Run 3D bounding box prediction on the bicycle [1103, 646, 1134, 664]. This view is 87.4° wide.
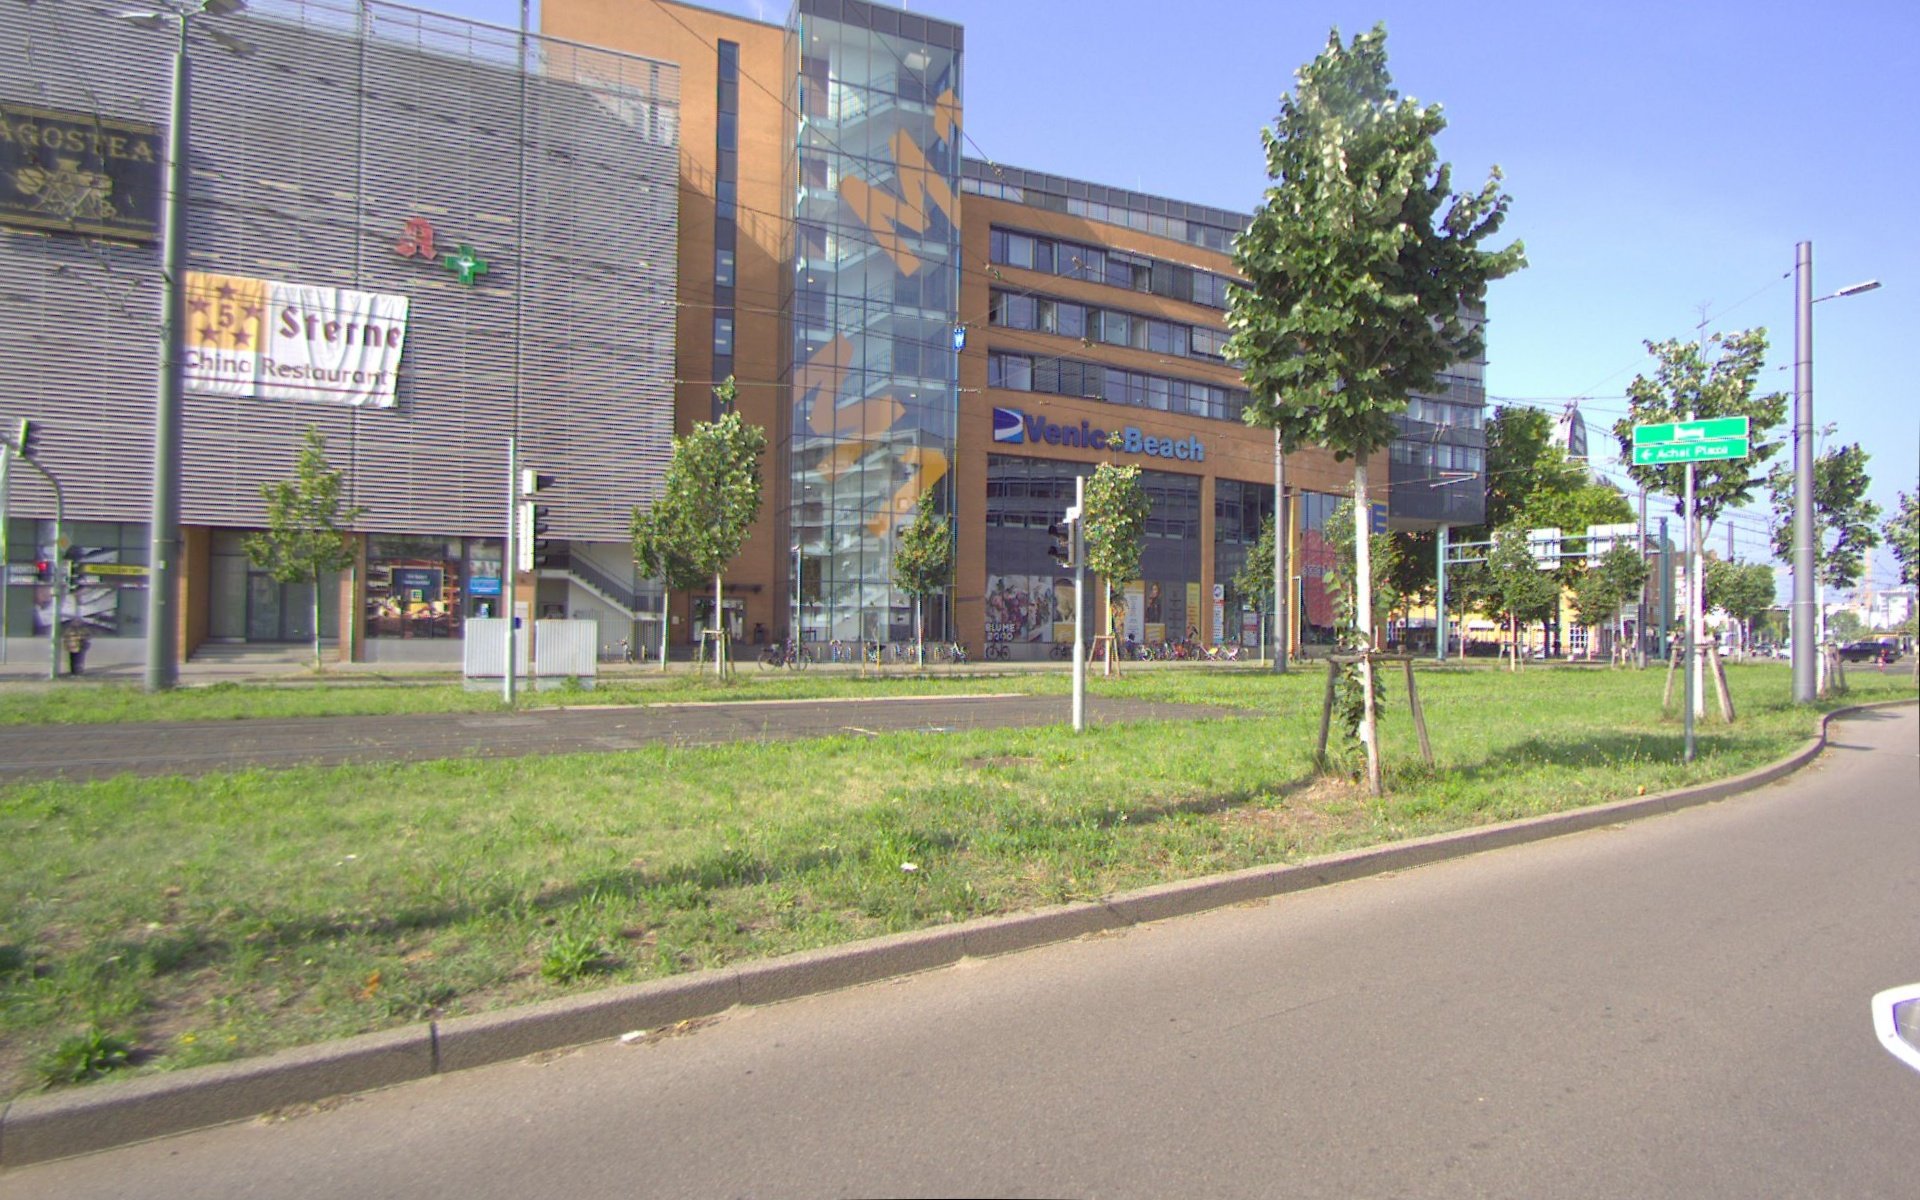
[{"bbox_3d":[8.509,2.948,54.097,0.566,0.933,2.041,2,-2,-27],"label":"bicycle"}]

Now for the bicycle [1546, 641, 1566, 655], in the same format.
[{"bbox_3d":[53.991,4.371,91.031,0.539,1.222,2.289,2,-3,4],"label":"bicycle"}]

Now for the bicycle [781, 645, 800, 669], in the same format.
[{"bbox_3d":[-7.036,2.370,41.610,0.405,0.952,1.575,1,-2,-22],"label":"bicycle"}]

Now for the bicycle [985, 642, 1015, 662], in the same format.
[{"bbox_3d":[2.006,2.616,50.483,0.566,0.933,2.041,2,-2,-27],"label":"bicycle"}]

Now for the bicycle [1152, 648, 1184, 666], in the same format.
[{"bbox_3d":[11.543,3.143,55.835,0.566,0.933,2.041,2,-2,-27],"label":"bicycle"}]

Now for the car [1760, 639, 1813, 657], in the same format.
[{"bbox_3d":[79.758,4.584,96.934,1.850,1.645,3.587,2,-2,-36],"label":"car"}]

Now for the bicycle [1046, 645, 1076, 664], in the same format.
[{"bbox_3d":[5.237,2.810,52.125,0.566,0.933,2.041,2,-2,-27],"label":"bicycle"}]

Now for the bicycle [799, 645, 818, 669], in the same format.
[{"bbox_3d":[-6.364,2.399,42.101,0.405,0.952,1.575,1,-2,-22],"label":"bicycle"}]

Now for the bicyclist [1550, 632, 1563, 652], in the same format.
[{"bbox_3d":[54.006,3.810,90.933,0.653,1.769,0.968,2,-3,4],"label":"bicyclist"}]

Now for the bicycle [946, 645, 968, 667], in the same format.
[{"bbox_3d":[-0.141,2.556,45.600,0.405,0.952,1.575,1,-2,-22],"label":"bicycle"}]

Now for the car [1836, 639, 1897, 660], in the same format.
[{"bbox_3d":[78.978,4.315,87.546,1.960,1.700,4.003,2,-3,6],"label":"car"}]

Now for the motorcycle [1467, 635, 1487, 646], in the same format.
[{"bbox_3d":[49.760,3.911,96.650,1.672,1.008,0.282,-1,-1,45],"label":"motorcycle"}]

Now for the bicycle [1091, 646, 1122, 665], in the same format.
[{"bbox_3d":[7.821,2.963,53.646,0.566,0.933,2.041,2,-2,-27],"label":"bicycle"}]

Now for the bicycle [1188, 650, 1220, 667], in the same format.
[{"bbox_3d":[13.826,3.306,56.940,0.566,0.933,2.041,2,-2,-27],"label":"bicycle"}]

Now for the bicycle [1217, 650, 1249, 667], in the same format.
[{"bbox_3d":[15.809,3.366,58.212,0.566,0.933,2.041,2,-2,-27],"label":"bicycle"}]

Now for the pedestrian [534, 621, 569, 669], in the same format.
[{"bbox_3d":[-15.071,1.656,37.078,1.159,1.741,0.816,1,-1,-22],"label":"pedestrian"}]

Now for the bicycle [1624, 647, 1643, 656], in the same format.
[{"bbox_3d":[80.561,6.196,120.177,1.935,0.982,0.418,0,-3,37],"label":"bicycle"}]

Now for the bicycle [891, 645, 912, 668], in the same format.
[{"bbox_3d":[-2.576,2.489,44.295,0.405,0.952,1.575,1,-2,-22],"label":"bicycle"}]

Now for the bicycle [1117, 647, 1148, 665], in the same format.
[{"bbox_3d":[9.349,3.012,54.473,0.566,0.933,2.041,2,-2,-27],"label":"bicycle"}]

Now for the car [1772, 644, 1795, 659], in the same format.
[{"bbox_3d":[90.367,5.688,110.299,1.706,1.562,3.437,0,-3,35],"label":"car"}]

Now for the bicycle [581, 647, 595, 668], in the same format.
[{"bbox_3d":[-14.091,2.165,38.045,0.445,0.762,1.001,1,-2,-20],"label":"bicycle"}]

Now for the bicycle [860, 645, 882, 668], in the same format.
[{"bbox_3d":[-3.791,2.406,42.874,0.466,0.952,1.575,1,-2,-22],"label":"bicycle"}]

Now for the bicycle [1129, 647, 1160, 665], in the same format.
[{"bbox_3d":[10.061,3.061,54.943,0.566,0.933,2.041,2,-2,-27],"label":"bicycle"}]

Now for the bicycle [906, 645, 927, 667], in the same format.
[{"bbox_3d":[-1.932,2.489,44.644,0.405,0.952,1.575,1,-2,-22],"label":"bicycle"}]

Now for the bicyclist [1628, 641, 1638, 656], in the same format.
[{"bbox_3d":[80.583,5.829,120.196,0.974,1.717,0.668,0,-3,37],"label":"bicyclist"}]

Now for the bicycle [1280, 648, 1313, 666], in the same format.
[{"bbox_3d":[17.908,3.038,53.490,0.700,0.919,1.671,2,-2,-24],"label":"bicycle"}]

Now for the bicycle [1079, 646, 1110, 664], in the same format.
[{"bbox_3d":[7.091,2.899,53.187,0.566,0.933,2.041,2,-2,-27],"label":"bicycle"}]

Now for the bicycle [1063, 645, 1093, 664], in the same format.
[{"bbox_3d":[6.185,2.864,52.688,0.566,0.933,2.041,2,-2,-27],"label":"bicycle"}]

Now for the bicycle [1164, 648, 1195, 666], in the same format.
[{"bbox_3d":[12.302,3.191,56.302,0.566,0.933,2.041,2,-2,-27],"label":"bicycle"}]

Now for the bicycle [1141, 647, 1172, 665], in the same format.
[{"bbox_3d":[10.802,3.075,55.359,0.566,0.933,2.041,2,-2,-27],"label":"bicycle"}]

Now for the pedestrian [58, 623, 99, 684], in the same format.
[{"bbox_3d":[-23.414,1.406,26.688,0.582,1.600,0.759,1,-2,-26],"label":"pedestrian"}]

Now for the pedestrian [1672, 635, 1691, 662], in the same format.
[{"bbox_3d":[55.395,3.713,77.115,1.141,2.040,0.773,0,-3,39],"label":"pedestrian"}]

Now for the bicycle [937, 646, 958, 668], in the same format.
[{"bbox_3d":[-0.559,2.537,44.757,0.405,0.952,1.575,1,-2,-22],"label":"bicycle"}]

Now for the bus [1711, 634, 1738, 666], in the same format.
[{"bbox_3d":[103.609,6.793,136.039,2.713,3.972,12.169,0,-4,38],"label":"bus"}]

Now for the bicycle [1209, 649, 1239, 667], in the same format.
[{"bbox_3d":[15.187,3.326,57.835,0.376,0.933,2.041,1,-2,-27],"label":"bicycle"}]

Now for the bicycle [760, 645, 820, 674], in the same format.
[{"bbox_3d":[-6.287,2.206,37.109,2.127,1.001,0.444,3,-3,-13],"label":"bicycle"}]
